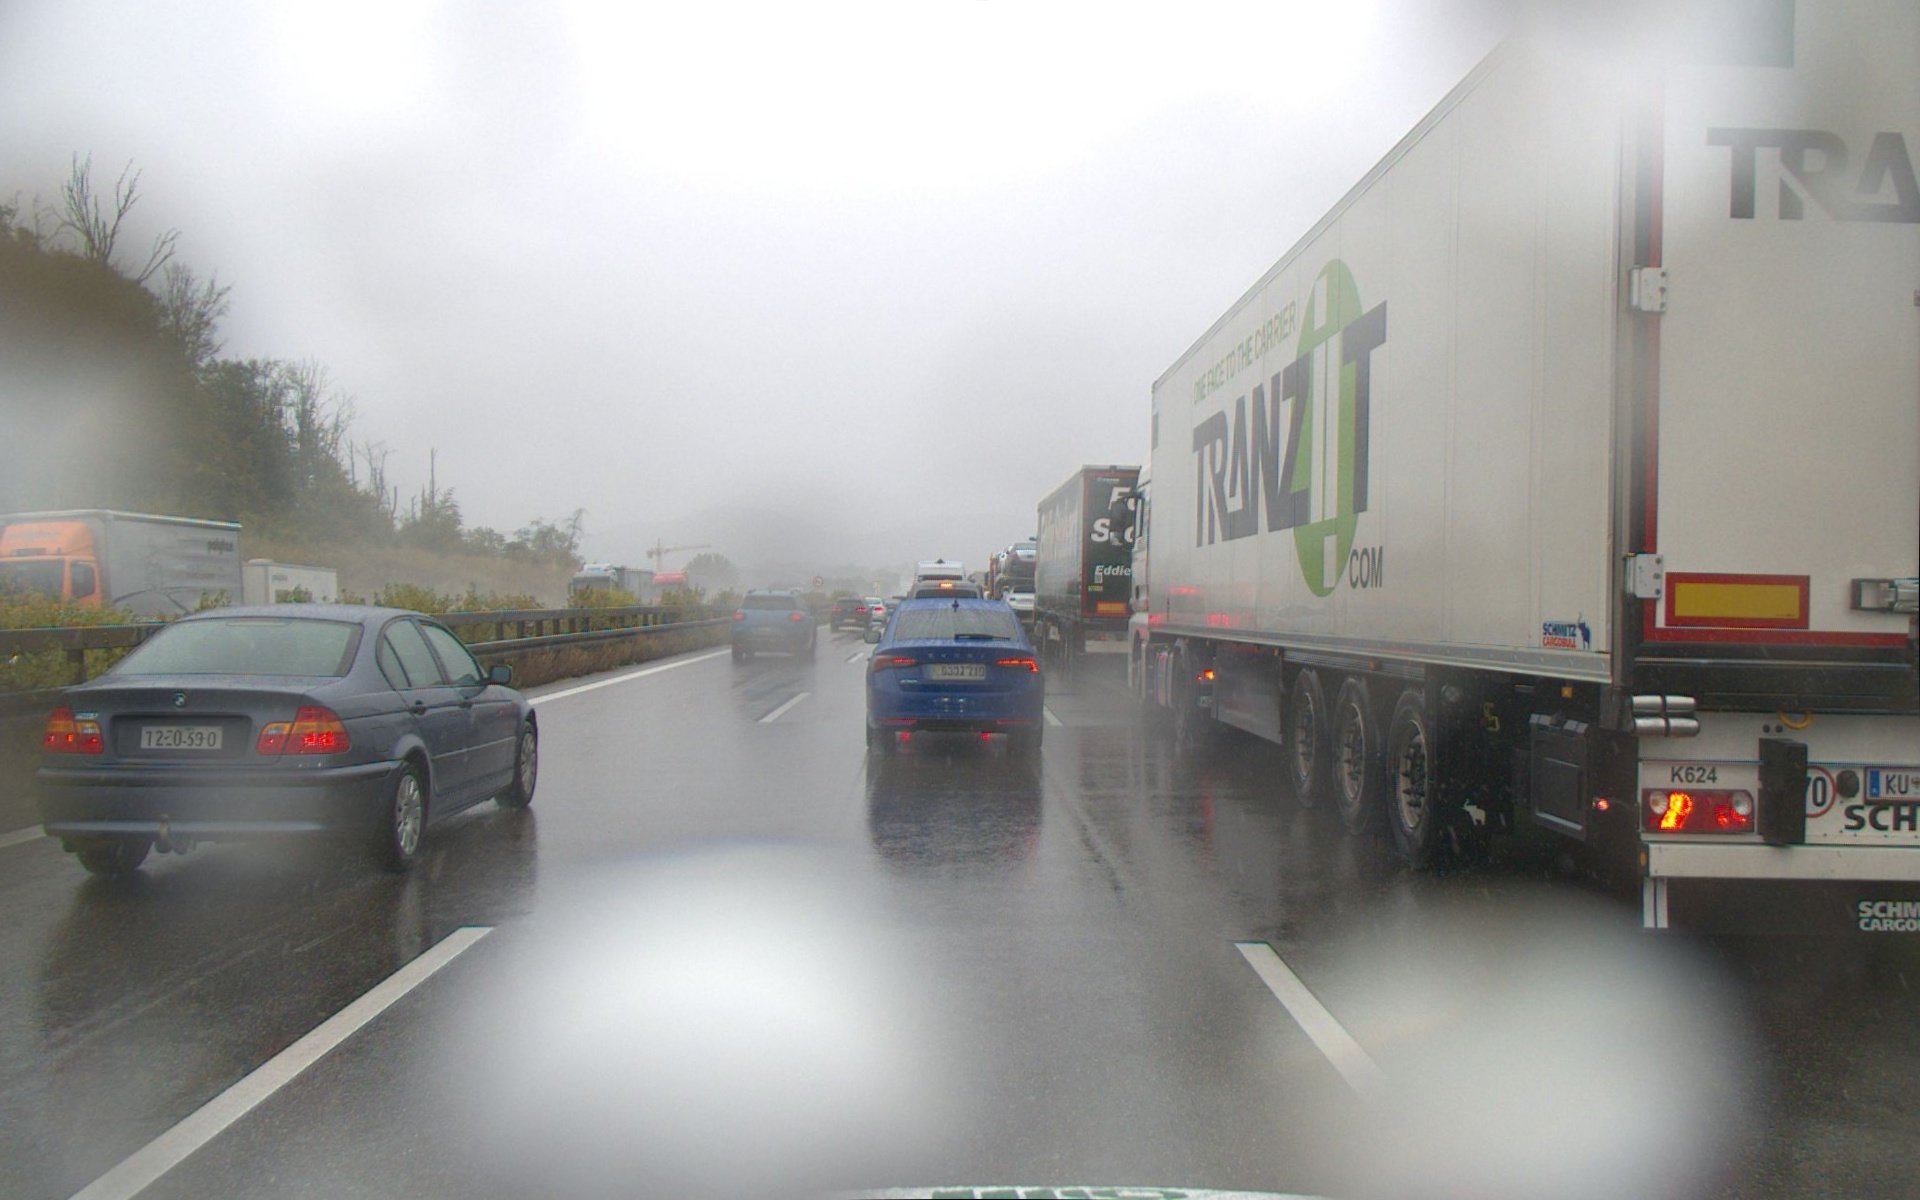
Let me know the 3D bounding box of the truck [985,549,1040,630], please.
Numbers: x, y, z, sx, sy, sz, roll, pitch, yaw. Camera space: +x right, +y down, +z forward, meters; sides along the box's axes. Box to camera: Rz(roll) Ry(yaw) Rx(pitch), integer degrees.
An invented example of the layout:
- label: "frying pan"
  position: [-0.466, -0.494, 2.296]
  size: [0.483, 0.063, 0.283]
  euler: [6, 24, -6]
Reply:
- label: "truck"
  position: [2.322, -0.512, 75.285]
  size: [1.953, 3.481, 8.029]
  euler: [0, 1, -2]

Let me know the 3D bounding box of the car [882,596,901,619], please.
- label: "car"
  position: [-5.503, 0.570, 132.689]
  size: [1.419, 1.815, 3.409]
  euler: [1, 0, -1]

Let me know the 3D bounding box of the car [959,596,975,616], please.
- label: "car"
  position: [0.575, 0.498, 139.220]
  size: [1.223, 1.538, 3.107]
  euler: [-1, 1, -1]

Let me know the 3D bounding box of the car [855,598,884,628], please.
- label: "car"
  position: [-4.897, 0.678, 89.557]
  size: [1.410, 1.560, 3.321]
  euler: [0, 0, -1]

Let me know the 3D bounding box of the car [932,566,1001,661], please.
- label: "car"
  position: [0.102, 0.242, 33.137]
  size: [1.309, 1.811, 3.321]
  euler: [0, 0, -1]

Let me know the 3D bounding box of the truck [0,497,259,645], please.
- label: "truck"
  position: [-21.136, -0.725, 42.176]
  size: [2.866, 3.339, 9.252]
  euler: [0, 1, -2]

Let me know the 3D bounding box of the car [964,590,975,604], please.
- label: "car"
  position: [1.226, -0.340, 218.811]
  size: [1.419, 1.815, 3.409]
  euler: [1, 0, -1]

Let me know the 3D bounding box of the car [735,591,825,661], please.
- label: "car"
  position: [-4.208, 0.578, 39.167]
  size: [1.686, 1.550, 4.000]
  euler: [0, 0, 0]

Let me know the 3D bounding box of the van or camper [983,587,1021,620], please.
- label: "van or camper"
  position: [2.133, 0.156, 84.846]
  size: [1.736, 1.653, 4.483]
  euler: [0, 1, -1]

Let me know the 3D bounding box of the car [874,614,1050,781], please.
- label: "car"
  position: [0.022, 0.902, 17.050]
  size: [1.602, 1.470, 4.000]
  euler: [0, 0, 0]

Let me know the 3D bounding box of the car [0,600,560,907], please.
- label: "car"
  position: [-3.728, 0.724, 9.906]
  size: [1.683, 1.424, 4.229]
  euler: [0, 0, -1]

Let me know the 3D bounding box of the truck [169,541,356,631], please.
- label: "truck"
  position: [-21.209, -0.400, 50.811]
  size: [2.597, 2.524, 7.889]
  euler: [1, 0, -2]

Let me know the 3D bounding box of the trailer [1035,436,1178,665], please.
- label: "trailer"
  position: [2.986, -0.969, 36.528]
  size: [2.005, 4.249, 11.446]
  euler: [0, 0, -1]

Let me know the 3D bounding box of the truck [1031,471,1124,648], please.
- label: "truck"
  position: [2.926, -0.990, 41.968]
  size: [2.005, 4.266, 3.999]
  euler: [0, 0, -1]

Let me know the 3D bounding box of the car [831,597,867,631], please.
- label: "car"
  position: [-4.831, 0.602, 72.379]
  size: [1.410, 1.445, 3.321]
  euler: [0, 0, -1]

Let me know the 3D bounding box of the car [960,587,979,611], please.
- label: "car"
  position: [0.729, -0.080, 126.926]
  size: [1.419, 1.815, 3.409]
  euler: [1, 0, -1]

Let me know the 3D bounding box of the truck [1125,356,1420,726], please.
- label: "truck"
  position: [3.541, -0.640, 19.875]
  size: [2.577, 3.894, 4.790]
  euler: [0, 0, -1]

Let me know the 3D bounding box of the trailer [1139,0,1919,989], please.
- label: "trailer"
  position: [3.618, -0.678, 13.396]
  size: [2.577, 4.083, 14.627]
  euler: [0, 0, -1]

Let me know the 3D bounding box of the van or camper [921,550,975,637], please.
- label: "van or camper"
  position: [-0.424, -0.222, 56.854]
  size: [1.761, 2.855, 4.767]
  euler: [0, 0, -1]
